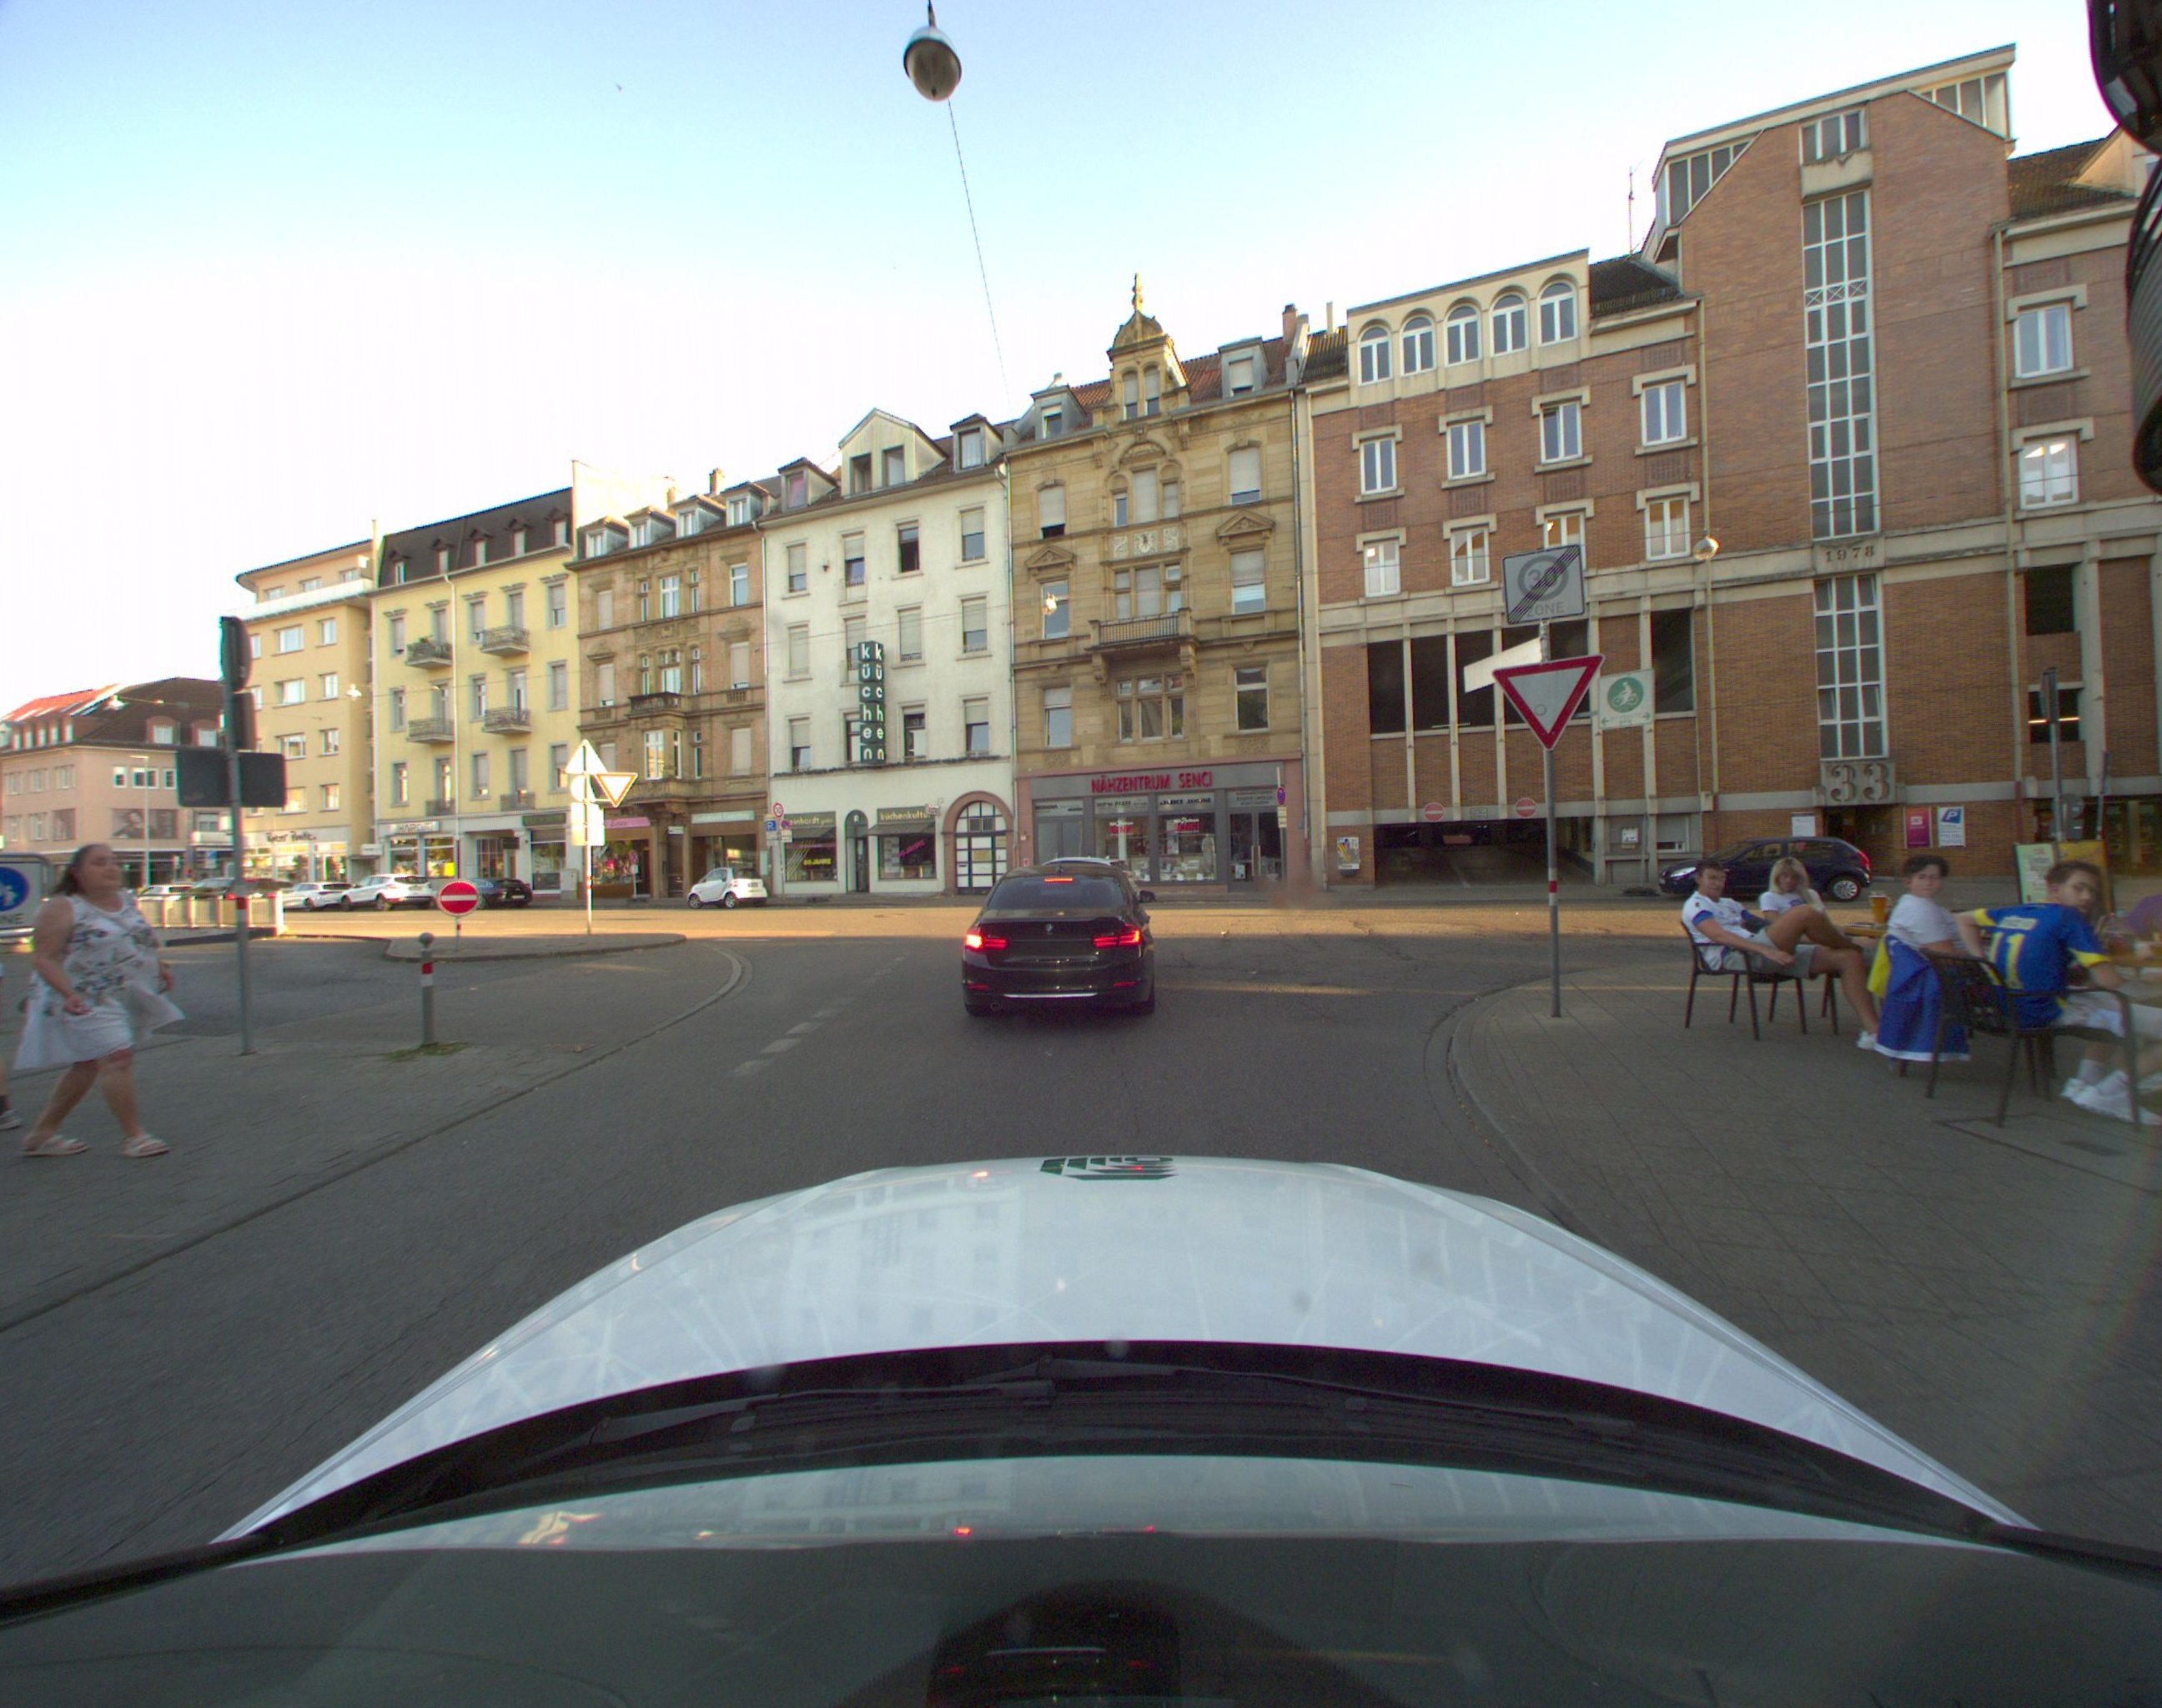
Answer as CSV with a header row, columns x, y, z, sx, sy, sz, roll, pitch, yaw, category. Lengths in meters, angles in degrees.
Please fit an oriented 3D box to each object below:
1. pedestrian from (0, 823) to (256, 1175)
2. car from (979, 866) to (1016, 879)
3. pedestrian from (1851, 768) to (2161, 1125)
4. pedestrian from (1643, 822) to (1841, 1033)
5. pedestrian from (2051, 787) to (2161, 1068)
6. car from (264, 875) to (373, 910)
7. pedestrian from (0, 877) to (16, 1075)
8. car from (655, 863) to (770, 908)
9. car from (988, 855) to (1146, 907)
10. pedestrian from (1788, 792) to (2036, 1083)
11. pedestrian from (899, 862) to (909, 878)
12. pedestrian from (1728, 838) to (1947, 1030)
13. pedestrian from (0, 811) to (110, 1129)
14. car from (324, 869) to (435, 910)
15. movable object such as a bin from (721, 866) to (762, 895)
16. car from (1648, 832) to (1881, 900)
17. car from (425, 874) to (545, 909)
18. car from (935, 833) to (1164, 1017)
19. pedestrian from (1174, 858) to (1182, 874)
x,y,z,sx,sy,sz,roll,pitch,yaw,category
-5.561,0.744,4.689,0.707,1.803,0.886,0,0,14,pedestrian
-11.572,2.597,113.273,4.567,1.652,2.107,0,1,16,car
4.680,0.407,4.072,0.710,1.536,0.853,-6,0,-1,pedestrian
4.790,0.489,5.933,0.773,1.382,0.831,-2,-1,-28,pedestrian
6.211,0.402,4.638,0.718,1.536,0.843,0,0,-37,pedestrian
-37.312,1.850,39.836,4.811,1.543,2.033,0,0,22,car
-8.396,0.920,5.857,0.719,1.486,0.598,0,0,-32,pedestrian
-14.108,1.169,31.188,3.952,1.585,1.715,0,0,22,car
-0.433,0.816,26.001,4.627,1.535,2.010,0,0,20,car
4.752,0.451,4.721,0.707,1.536,0.692,-2,-1,15,pedestrian
-22.526,2.092,103.504,0.907,2.014,0.920,-2,-2,44,pedestrian
5.585,0.555,6.054,0.687,1.282,0.959,-1,-2,-28,pedestrian
-6.705,0.677,4.951,0.878,1.853,0.991,-1,0,38,pedestrian
-32.310,1.584,37.507,4.604,1.745,1.898,0,0,21,car
-14.473,1.109,34.710,1.381,1.186,0.873,-2,0,21,movable object such as a bin
16.578,0.285,20.025,3.952,1.520,2.011,-1,1,22,car
-26.326,1.670,35.973,4.792,1.434,2.010,-2,-1,21,car
-0.088,0.629,8.870,1.880,1.492,4.210,-2,-1,5,car
11.008,1.331,92.583,0.699,1.819,1.121,-1,0,-4,pedestrian
